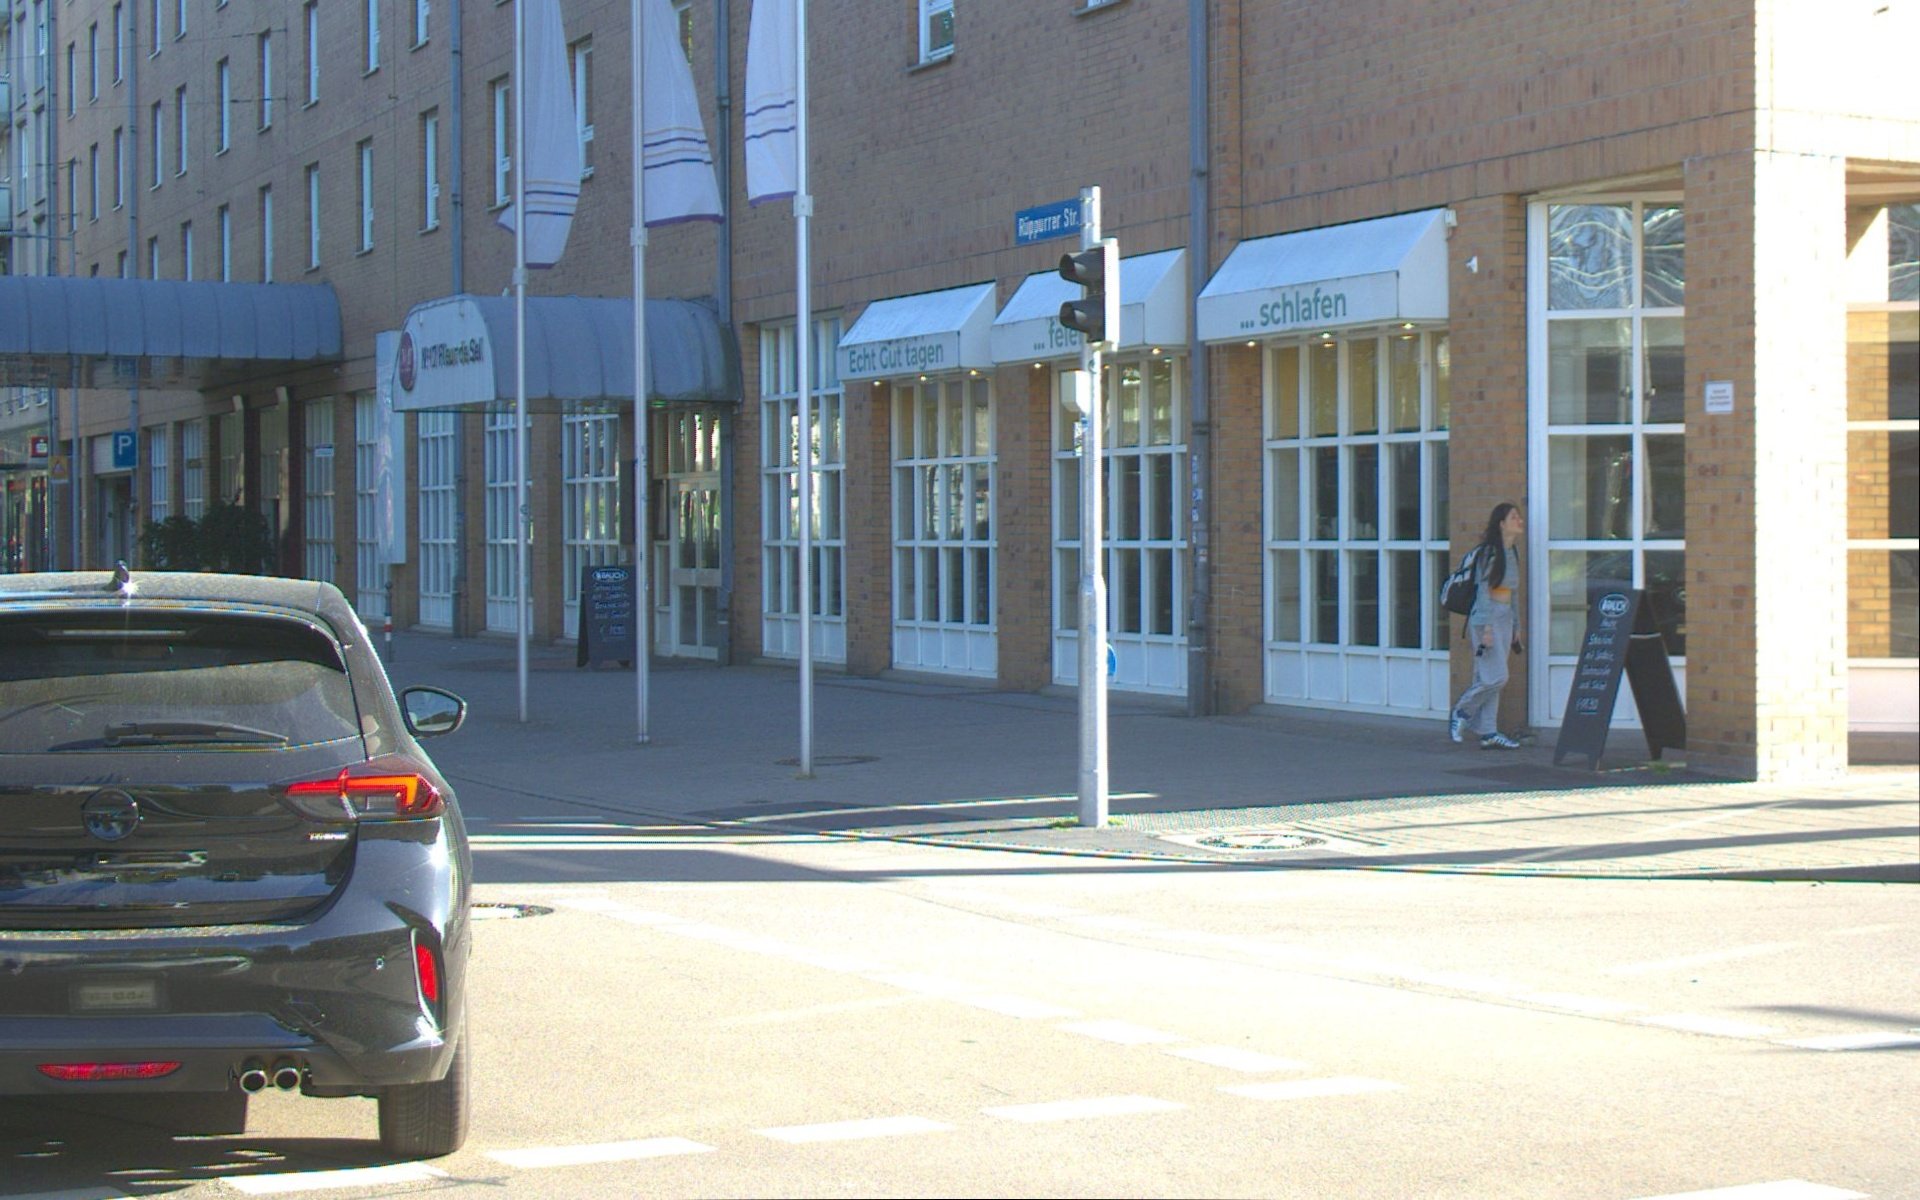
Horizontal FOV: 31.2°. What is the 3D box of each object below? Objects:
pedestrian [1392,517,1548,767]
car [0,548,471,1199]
[{"bbox_3d":[3.466,0.267,23.366,0.739,1.660,0.753,-1,1,-31],"label":"pedestrian"},{"bbox_3d":[-2.242,0.621,9.402,1.671,1.496,3.692,0,1,-10],"label":"car"}]
